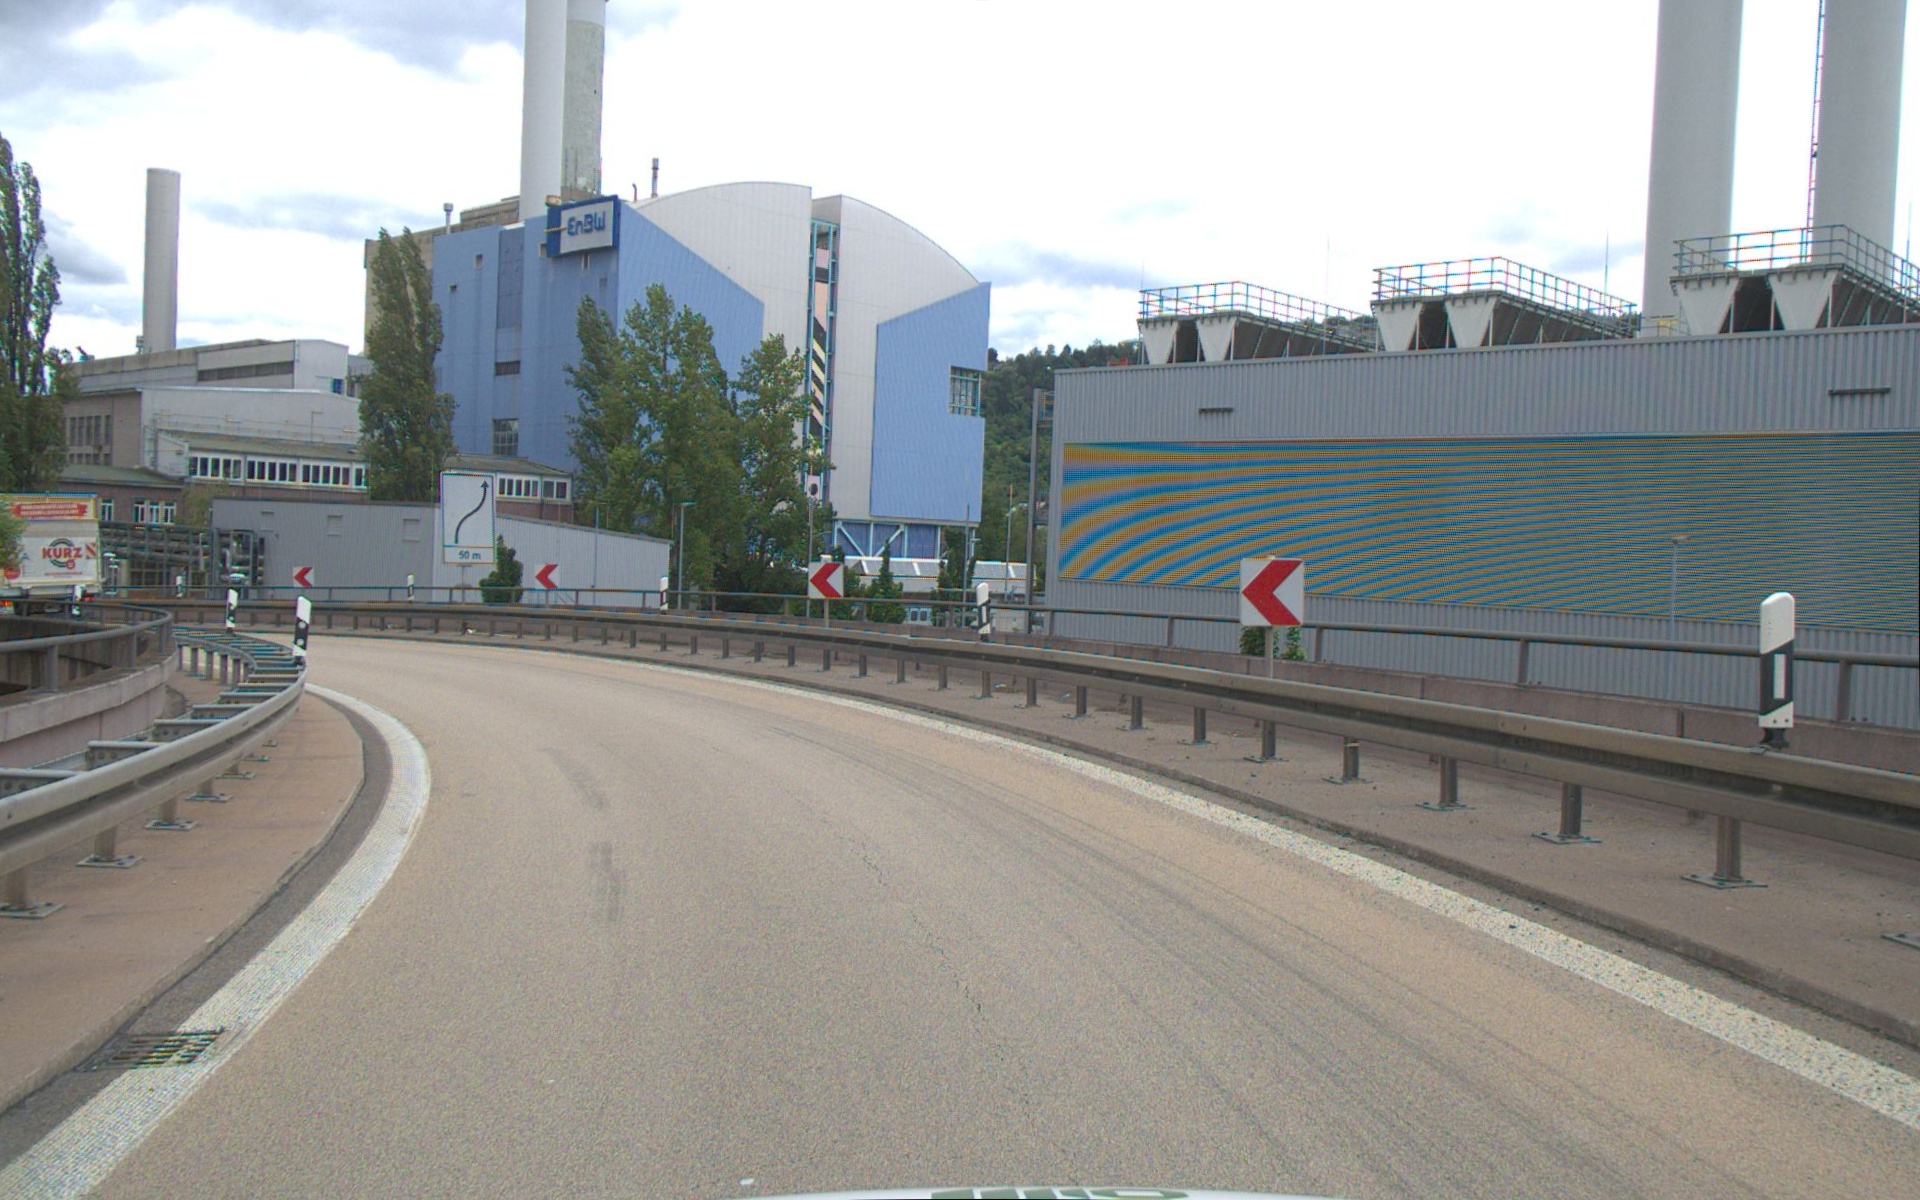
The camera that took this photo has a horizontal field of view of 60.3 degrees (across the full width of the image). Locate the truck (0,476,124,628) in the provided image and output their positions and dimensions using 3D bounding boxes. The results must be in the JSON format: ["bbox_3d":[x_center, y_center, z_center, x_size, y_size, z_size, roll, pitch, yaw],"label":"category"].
[{"bbox_3d":[-25.741,-1.307,44.055,7.772,3.737,3.048,3,1,37],"label":"truck"}]
